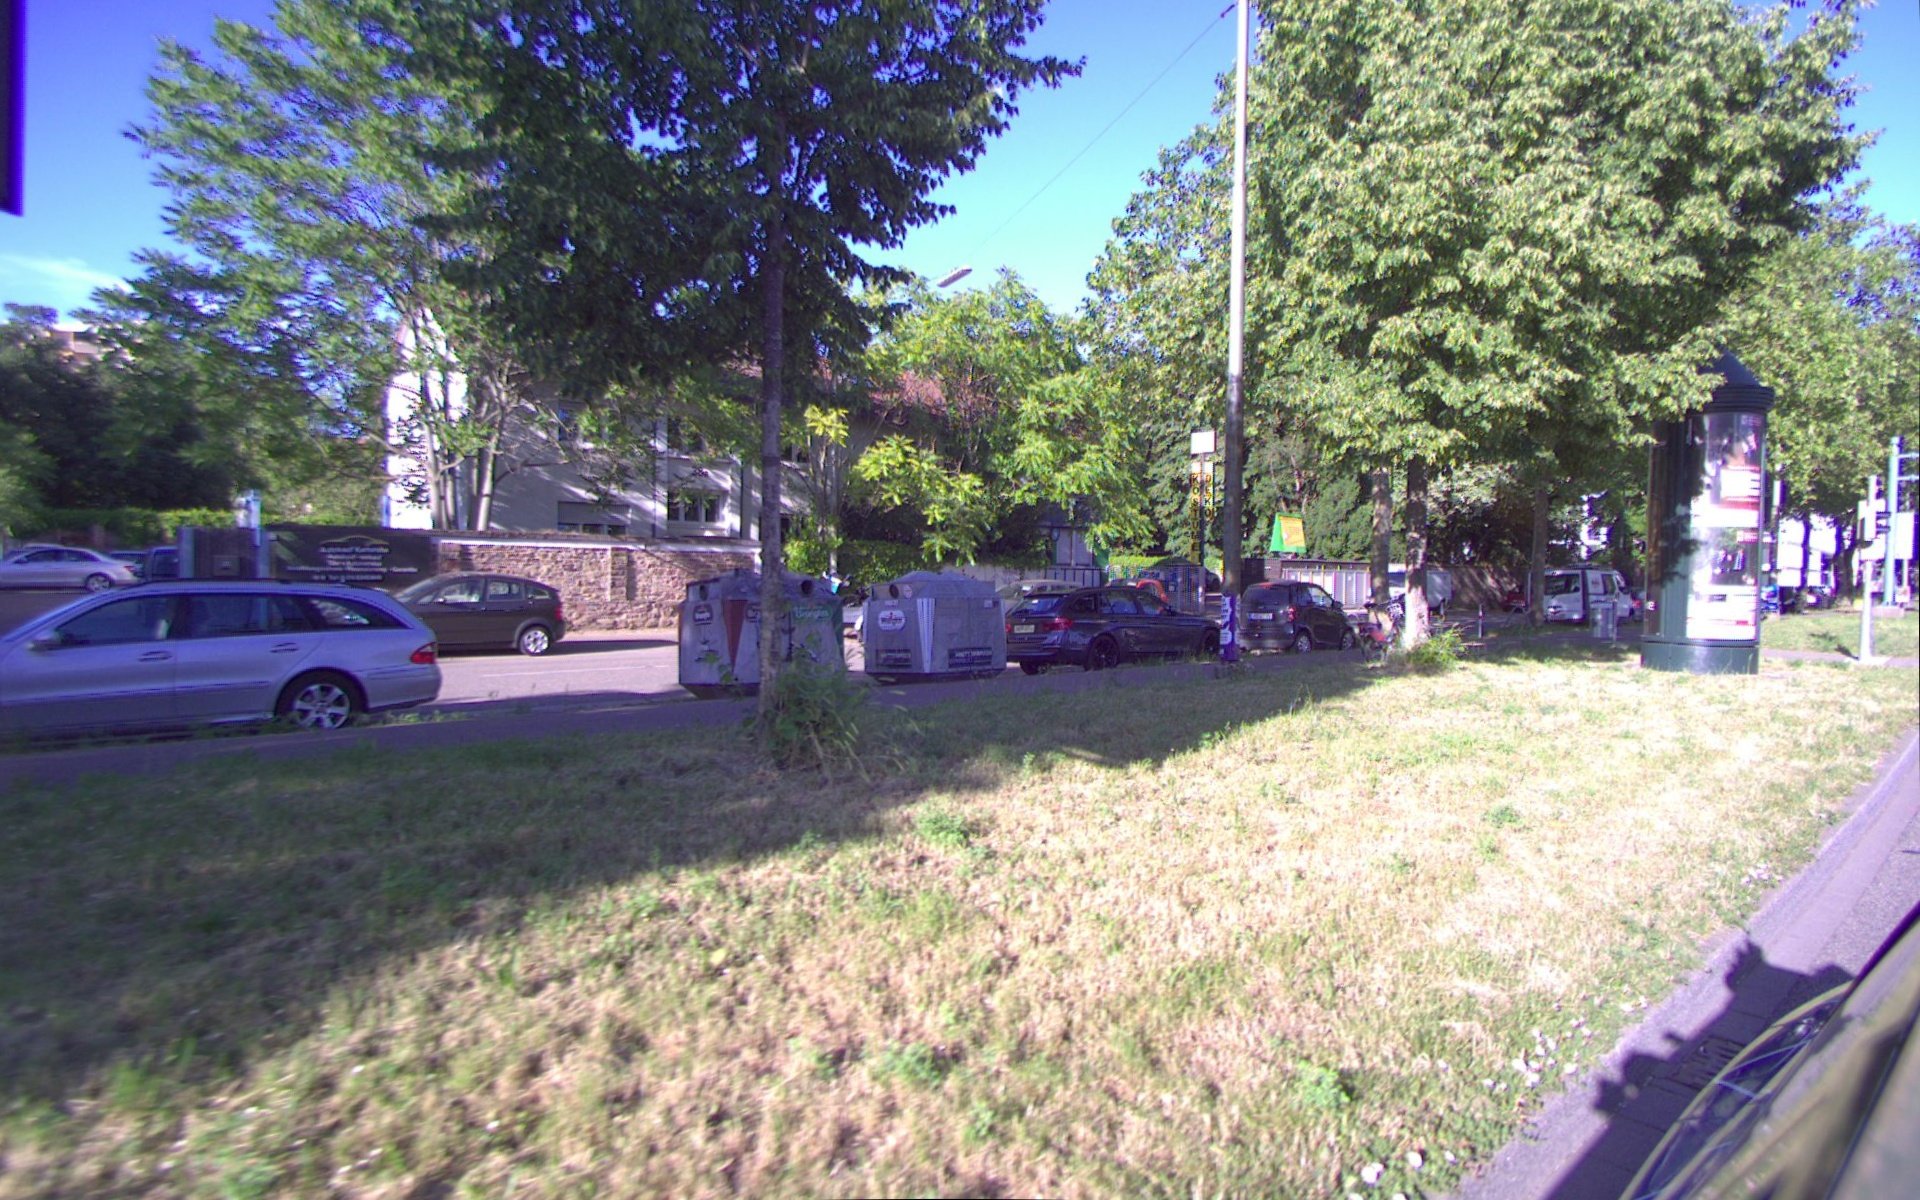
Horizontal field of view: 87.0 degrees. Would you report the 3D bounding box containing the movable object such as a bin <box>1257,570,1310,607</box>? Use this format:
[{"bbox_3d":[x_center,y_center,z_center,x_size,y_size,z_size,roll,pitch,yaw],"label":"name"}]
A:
[{"bbox_3d":[13.961,-0.514,43.651,1.645,1.487,1.462,4,4,45],"label":"movable object such as a bin"}]

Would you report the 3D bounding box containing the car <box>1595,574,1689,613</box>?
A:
[{"bbox_3d":[24.676,-0.250,36.556,3.985,1.306,1.995,-2,1,-43],"label":"car"}]

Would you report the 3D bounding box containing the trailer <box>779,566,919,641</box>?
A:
[{"bbox_3d":[-2.715,0.036,24.972,2.970,1.660,1.734,-2,4,-40],"label":"trailer"}]

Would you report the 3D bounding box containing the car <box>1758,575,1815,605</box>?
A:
[{"bbox_3d":[42.850,-0.521,52.444,3.819,1.456,1.795,-2,1,-43],"label":"car"}]

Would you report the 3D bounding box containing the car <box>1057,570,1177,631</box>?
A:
[{"bbox_3d":[4.894,-0.050,31.449,3.423,1.626,1.996,-2,6,-45],"label":"car"}]

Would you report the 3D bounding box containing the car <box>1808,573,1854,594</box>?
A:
[{"bbox_3d":[70.599,-1.375,82.106,1.982,1.660,3.960,-1,1,29],"label":"car"}]

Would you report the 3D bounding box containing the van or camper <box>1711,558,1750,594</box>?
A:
[{"bbox_3d":[63.285,-2.006,83.054,1.994,2.763,4.889,5,5,42],"label":"van or camper"}]

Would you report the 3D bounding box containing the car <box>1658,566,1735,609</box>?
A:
[{"bbox_3d":[29.881,-0.530,41.022,4.281,1.662,1.738,-2,1,-43],"label":"car"}]

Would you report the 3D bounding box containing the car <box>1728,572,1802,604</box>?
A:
[{"bbox_3d":[38.592,-0.589,48.466,4.596,1.399,1.996,-2,0,-41],"label":"car"}]

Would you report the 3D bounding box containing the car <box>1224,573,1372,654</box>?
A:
[{"bbox_3d":[6.992,0.224,20.855,2.938,1.519,1.664,-2,1,-42],"label":"car"}]

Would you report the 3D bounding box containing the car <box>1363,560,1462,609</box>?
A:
[{"bbox_3d":[19.962,-0.727,44.543,4.855,2.038,2.091,-1,2,-40],"label":"car"}]

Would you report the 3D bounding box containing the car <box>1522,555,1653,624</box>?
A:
[{"bbox_3d":[20.201,-0.376,32.461,5.723,2.039,2.192,-2,1,-43],"label":"car"}]

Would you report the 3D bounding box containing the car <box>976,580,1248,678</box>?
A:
[{"bbox_3d":[2.713,0.411,17.443,4.660,1.402,2.004,-2,1,-39],"label":"car"}]

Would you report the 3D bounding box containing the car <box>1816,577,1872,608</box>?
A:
[{"bbox_3d":[48.463,-0.429,55.450,3.951,1.580,1.795,-2,-1,-42],"label":"car"}]

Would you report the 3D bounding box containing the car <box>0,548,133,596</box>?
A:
[{"bbox_3d":[-29.069,-0.884,32.035,4.338,1.438,1.900,-2,1,-44],"label":"car"}]

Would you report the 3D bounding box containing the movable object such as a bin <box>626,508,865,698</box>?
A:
[{"bbox_3d":[-2.622,0.008,12.326,2.099,2.039,2.085,-2,1,-40],"label":"movable object such as a bin"}]

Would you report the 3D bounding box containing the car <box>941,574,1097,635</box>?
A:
[{"bbox_3d":[1.723,0.052,28.859,4.249,1.500,1.998,-2,4,-40],"label":"car"}]

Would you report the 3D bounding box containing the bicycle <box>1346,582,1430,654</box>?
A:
[{"bbox_3d":[6.782,0.257,15.992,1.872,1.059,0.493,-2,1,-43],"label":"bicycle"}]

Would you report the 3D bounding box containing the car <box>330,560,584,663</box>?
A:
[{"bbox_3d":[-9.464,0.117,19.200,3.934,1.659,1.997,-2,5,-43],"label":"car"}]

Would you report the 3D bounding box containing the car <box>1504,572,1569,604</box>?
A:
[{"bbox_3d":[30.179,-0.656,52.930,3.690,1.489,1.695,-1,4,-39],"label":"car"}]

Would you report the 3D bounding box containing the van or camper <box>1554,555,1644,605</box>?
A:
[{"bbox_3d":[37.750,-1.186,59.714,6.448,2.716,2.563,-1,4,-40],"label":"van or camper"}]

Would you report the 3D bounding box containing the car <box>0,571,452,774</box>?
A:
[{"bbox_3d":[-7.493,0.553,9.040,4.970,1.543,1.874,-2,1,-42],"label":"car"}]

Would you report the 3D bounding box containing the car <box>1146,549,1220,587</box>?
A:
[{"bbox_3d":[12.519,-1.804,56.686,3.929,2.039,1.998,-2,1,-39],"label":"car"}]

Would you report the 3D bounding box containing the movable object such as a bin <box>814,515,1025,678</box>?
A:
[{"bbox_3d":[-0.576,-0.072,14.115,2.099,2.039,2.085,-2,1,-40],"label":"movable object such as a bin"}]

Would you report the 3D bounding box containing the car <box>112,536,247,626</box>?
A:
[{"bbox_3d":[-17.427,-0.485,22.527,3.990,1.765,1.874,5,4,45],"label":"car"}]
